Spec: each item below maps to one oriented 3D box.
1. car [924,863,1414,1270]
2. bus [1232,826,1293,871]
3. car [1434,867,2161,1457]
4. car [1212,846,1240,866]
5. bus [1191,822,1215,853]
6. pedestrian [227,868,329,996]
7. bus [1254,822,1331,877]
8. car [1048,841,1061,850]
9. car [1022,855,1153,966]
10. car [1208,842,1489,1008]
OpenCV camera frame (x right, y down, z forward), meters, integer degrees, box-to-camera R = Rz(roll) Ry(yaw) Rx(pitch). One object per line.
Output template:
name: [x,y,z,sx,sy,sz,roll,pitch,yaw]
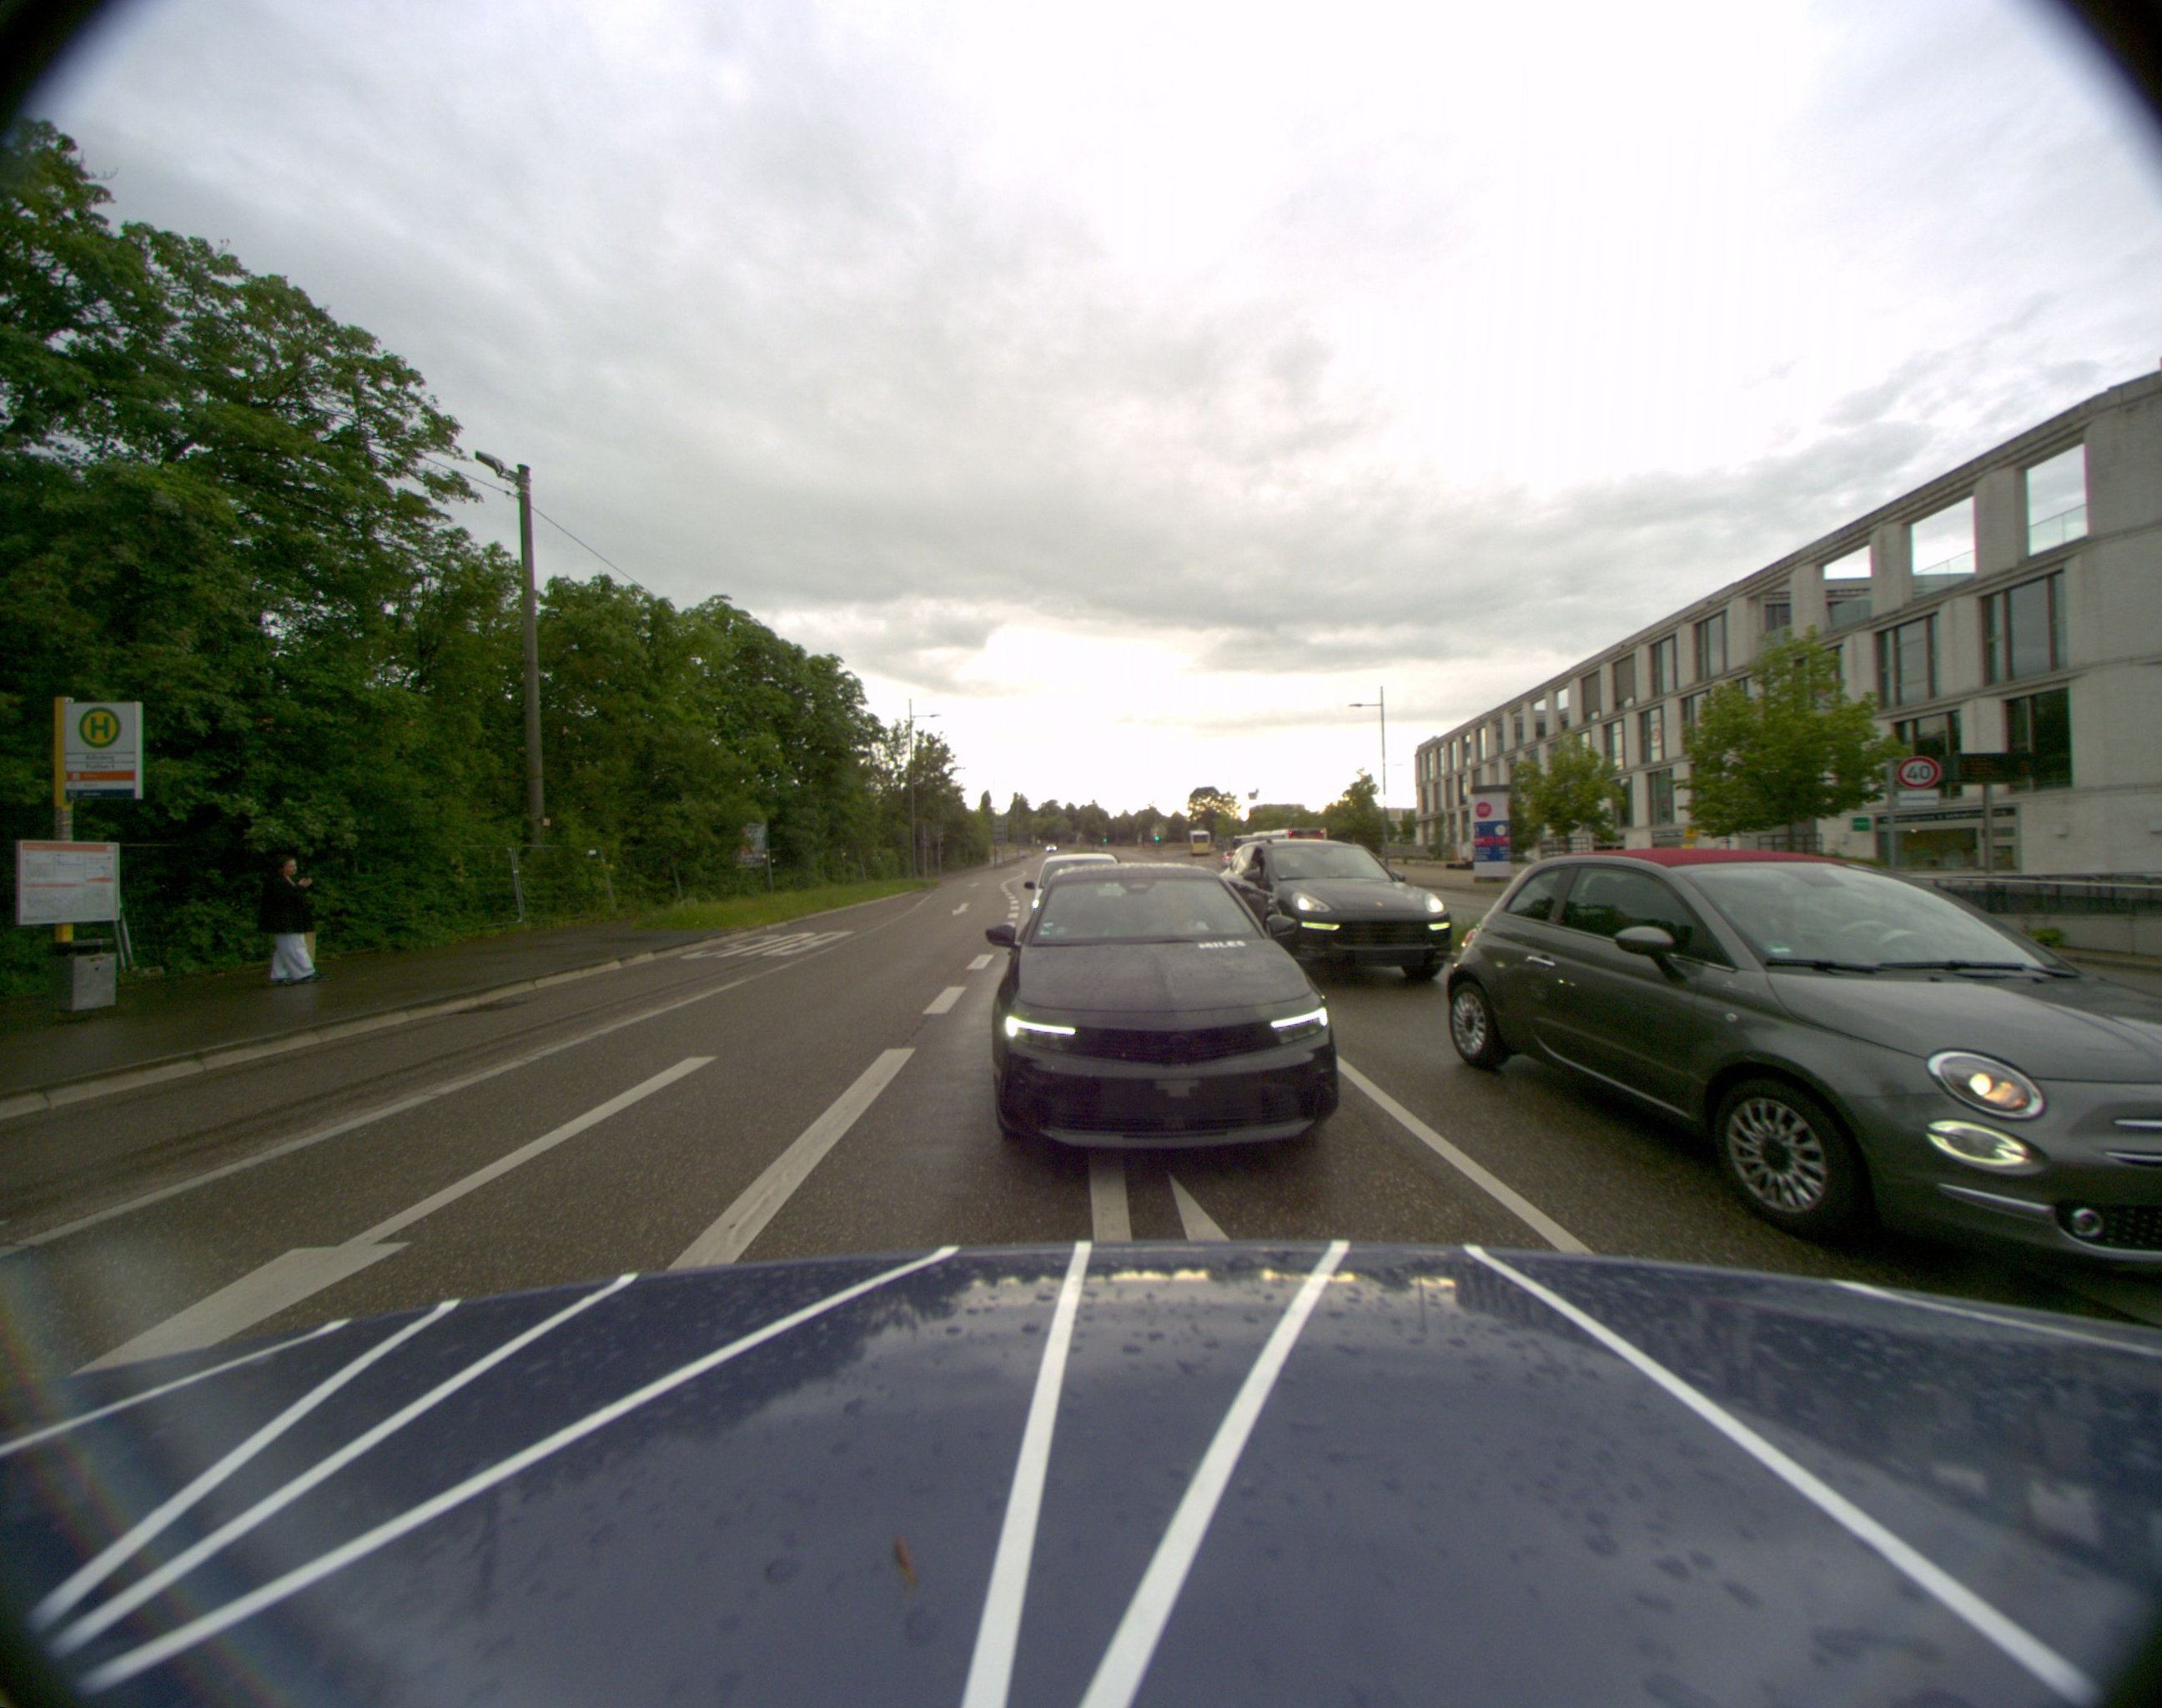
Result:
car: [0.386,0.880,5.410,1.901,1.456,4.767,-2,1,1]
bus: [14.130,-0.474,60.062,2.693,3.163,9.912,-2,1,2]
car: [3.422,0.855,3.795,1.631,1.473,3.505,-1,1,-1]
car: [13.597,0.134,71.478,1.867,1.777,3.999,-2,1,1]
bus: [18.334,-2.456,113.583,2.757,4.129,19.359,-2,1,11]
pedestrian: [-10.571,1.004,10.019,0.588,1.618,0.661,-1,1,1]
bus: [13.837,-0.331,50.557,2.759,3.194,9.207,-2,1,2]
car: [-5.584,-1.749,159.544,2.000,1.805,3.996,-2,1,-10]
car: [0.123,0.839,13.672,1.901,1.524,4.767,-2,1,1]
car: [3.101,0.701,9.991,1.934,1.649,4.617,-1,1,-2]
